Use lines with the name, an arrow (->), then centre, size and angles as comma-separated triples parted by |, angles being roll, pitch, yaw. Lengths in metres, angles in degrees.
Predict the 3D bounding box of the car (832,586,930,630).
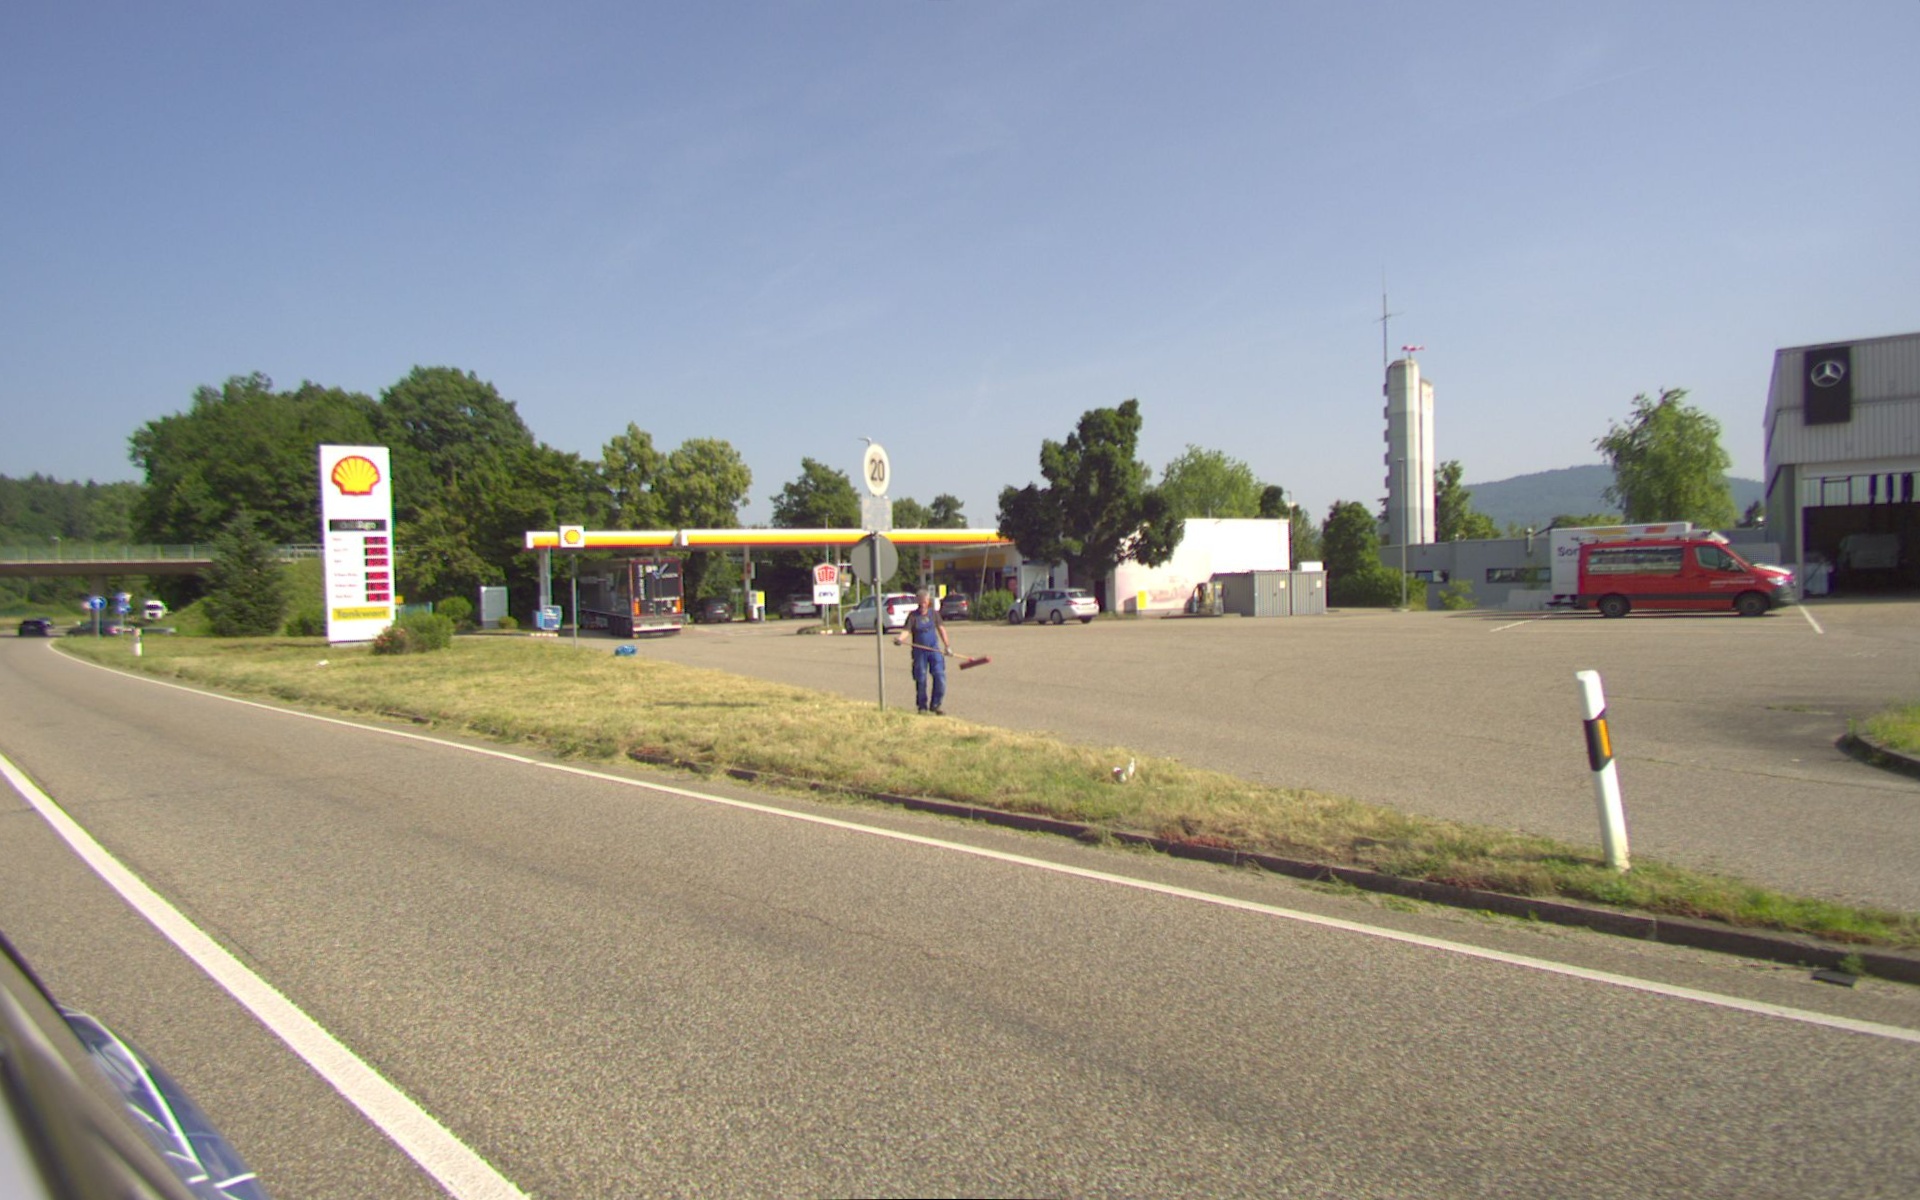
car -> -3.101, 0.303, 38.781 | 1.692, 1.578, 4.670 | -1, 0, -33

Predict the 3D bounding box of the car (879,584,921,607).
car -> -4.119, -0.327, 69.159 | 1.965, 1.470, 4.012 | -2, 0, -17

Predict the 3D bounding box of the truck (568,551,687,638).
truck -> -18.999, -0.228, 56.634 | 3.010, 4.165, 16.824 | 0, 0, -30

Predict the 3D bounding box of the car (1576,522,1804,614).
car -> 21.070, -0.848, 29.405 | 5.217, 2.404, 1.862 | -1, 0, 39

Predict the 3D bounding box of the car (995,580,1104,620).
car -> 3.642, 0.035, 41.797 | 1.693, 1.578, 4.666 | -1, 0, -39

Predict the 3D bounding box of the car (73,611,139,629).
car -> -59.119, 1.394, 70.049 | 4.071, 1.181, 1.796 | 0, -1, 21

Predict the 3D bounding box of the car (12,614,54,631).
car -> -77.535, 1.874, 84.701 | 1.654, 1.366, 3.935 | 1, -1, -28

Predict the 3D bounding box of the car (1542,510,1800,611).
car -> 22.556, -1.140, 32.378 | 6.521, 2.877, 2.371 | -1, 0, 39

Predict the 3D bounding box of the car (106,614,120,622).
car -> -133.868, 2.854, 159.948 | 1.657, 1.366, 3.927 | 1, -2, -42

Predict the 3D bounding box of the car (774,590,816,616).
car -> -11.051, 0.218, 67.661 | 1.877, 1.655, 4.013 | -2, 0, -23

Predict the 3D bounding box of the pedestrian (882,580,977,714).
pedestrian -> -0.425, 0.594, 13.576 | 0.836, 1.702, 1.147 | 0, 0, -28

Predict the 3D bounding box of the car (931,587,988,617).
car -> 0.021, 0.128, 56.477 | 1.709, 1.578, 4.286 | -1, 0, 22
